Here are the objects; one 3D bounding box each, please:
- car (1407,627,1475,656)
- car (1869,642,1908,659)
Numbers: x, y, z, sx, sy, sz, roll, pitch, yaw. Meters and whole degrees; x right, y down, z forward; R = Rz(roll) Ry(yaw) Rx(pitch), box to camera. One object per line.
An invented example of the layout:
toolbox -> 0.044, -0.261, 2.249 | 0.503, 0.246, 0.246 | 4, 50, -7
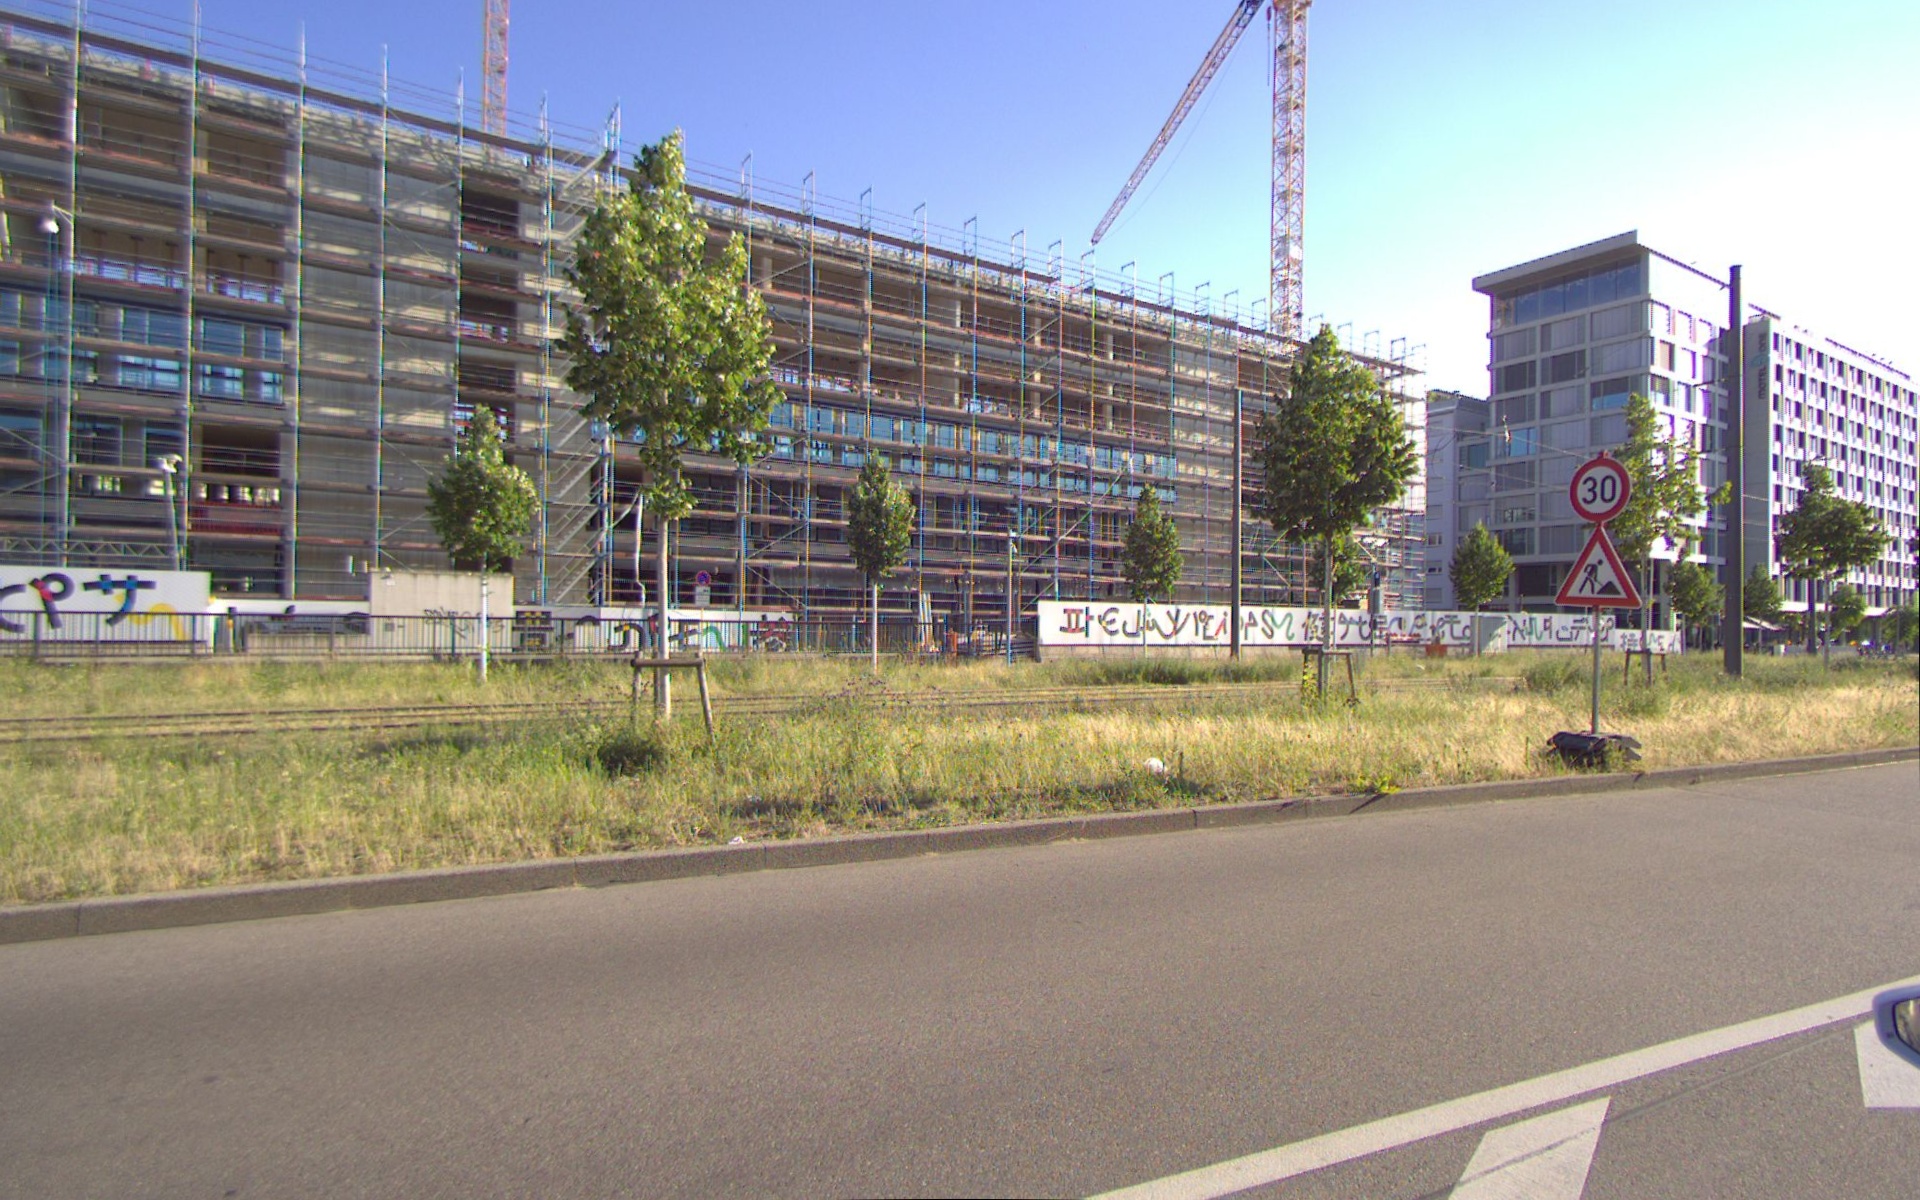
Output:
car -> 26.075, 2.260, 54.424 | 3.543, 1.461, 1.699 | 2, 0, -32
car -> 84.025, 4.581, 90.891 | 3.543, 1.461, 1.699 | 2, 0, -32
